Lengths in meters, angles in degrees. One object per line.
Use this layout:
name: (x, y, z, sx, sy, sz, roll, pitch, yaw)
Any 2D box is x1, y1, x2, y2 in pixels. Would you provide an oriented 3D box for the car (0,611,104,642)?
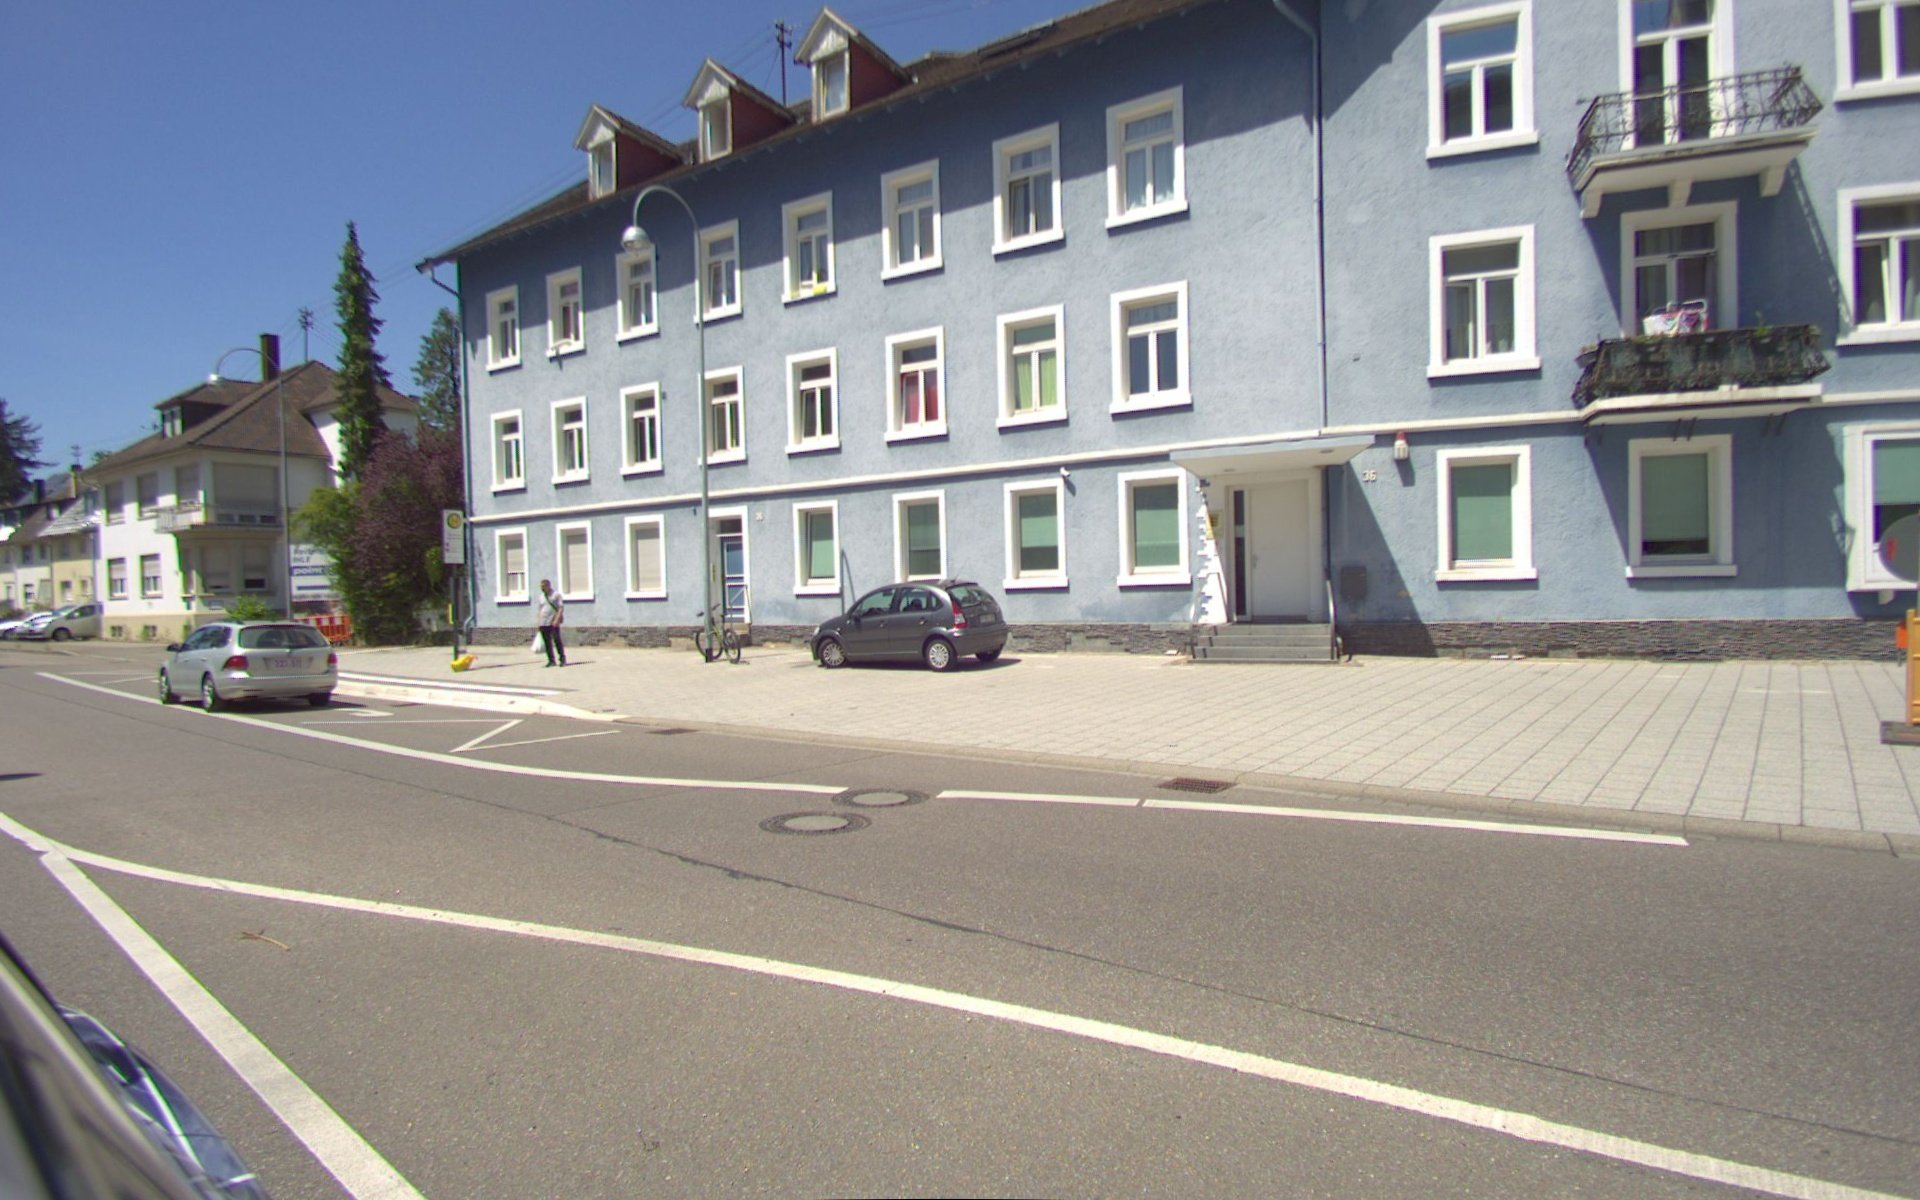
car: (-46.249, 1.341, 51.166, 4.201, 1.507, 1.883, 0, -1, -24)

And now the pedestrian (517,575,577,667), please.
pedestrian: (-8.725, 0.433, 21.403, 0.769, 1.861, 0.750, -1, 4, 32)

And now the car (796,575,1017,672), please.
car: (-1.002, 0.343, 18.046, 3.766, 1.546, 1.565, 1, 2, 34)

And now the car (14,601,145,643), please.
car: (-41.705, 1.051, 48.043, 1.841, 1.891, 4.325, -1, -1, 27)

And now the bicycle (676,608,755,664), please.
bicycle: (-4.874, 0.696, 20.069, 1.974, 0.984, 0.490, 0, 6, 45)

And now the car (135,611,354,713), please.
car: (-12.410, 1.139, 17.471, 4.386, 1.542, 1.820, -4, -7, 38)

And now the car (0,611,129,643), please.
car: (-43.691, 1.292, 49.460, 1.972, 1.507, 4.432, -2, -1, 35)
